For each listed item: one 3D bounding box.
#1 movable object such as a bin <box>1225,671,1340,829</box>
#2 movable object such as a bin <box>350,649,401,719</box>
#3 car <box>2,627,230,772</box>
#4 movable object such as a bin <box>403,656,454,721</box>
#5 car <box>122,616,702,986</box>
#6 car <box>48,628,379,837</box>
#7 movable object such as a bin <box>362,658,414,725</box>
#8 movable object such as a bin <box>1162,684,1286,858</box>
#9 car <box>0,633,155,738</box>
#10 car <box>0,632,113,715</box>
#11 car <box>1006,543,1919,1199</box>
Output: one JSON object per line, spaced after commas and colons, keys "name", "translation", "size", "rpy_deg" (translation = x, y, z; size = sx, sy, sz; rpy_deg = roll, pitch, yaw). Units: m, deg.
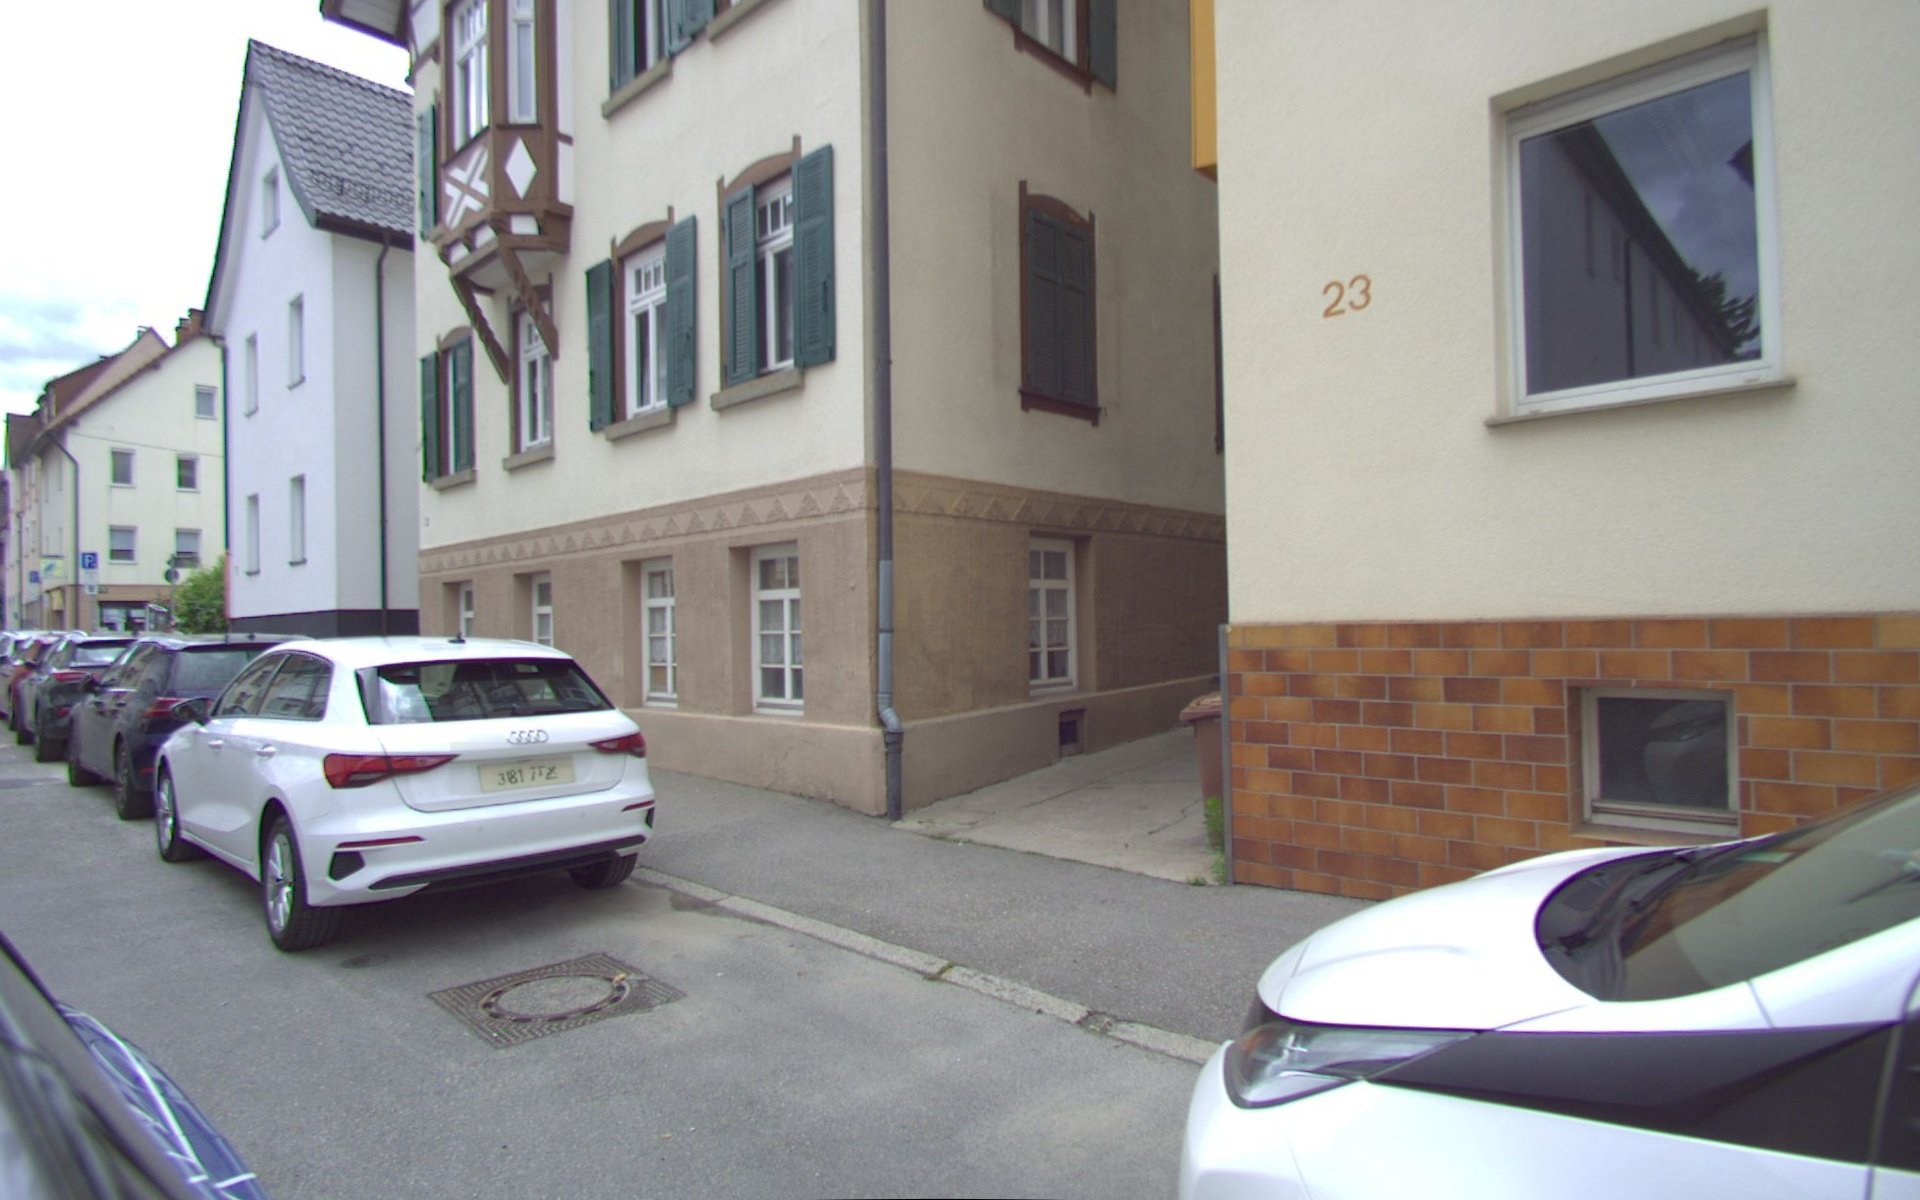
{"name": "movable object such as a bin", "translation": [2.104, 0.948, 6.594], "size": [0.546, 0.931, 0.499], "rpy_deg": [-2, 0, 38]}
{"name": "movable object such as a bin", "translation": [-9.008, 1.287, 15.597], "size": [0.604, 1.023, 0.508], "rpy_deg": [-2, -1, 43]}
{"name": "car", "translation": [-10.824, 1.141, 12.874], "size": [4.085, 1.521, 1.732], "rpy_deg": [-1, -3, 44]}
{"name": "movable object such as a bin", "translation": [-8.152, 1.340, 15.514], "size": [0.604, 0.939, 0.508], "rpy_deg": [-2, -1, 43]}
{"name": "car", "translation": [-3.547, 0.851, 6.121], "size": [4.370, 1.443, 1.732], "rpy_deg": [-1, -3, 43]}
{"name": "car", "translation": [-7.133, 1.041, 9.478], "size": [4.371, 1.467, 1.732], "rpy_deg": [-1, -3, 44]}
{"name": "movable object such as a bin", "translation": [-8.567, 1.361, 15.144], "size": [0.604, 0.939, 0.508], "rpy_deg": [-2, -1, 43]}
{"name": "movable object such as a bin", "translation": [1.598, 1.003, 6.118], "size": [0.546, 0.931, 0.499], "rpy_deg": [-2, 0, 38]}
{"name": "car", "translation": [-14.610, 1.304, 16.464], "size": [4.067, 1.460, 1.732], "rpy_deg": [-1, -3, 43]}
{"name": "car", "translation": [-18.343, 1.375, 19.956], "size": [4.346, 1.442, 1.734], "rpy_deg": [-1, -3, 40]}
{"name": "car", "translation": [2.026, 0.676, 1.022], "size": [3.816, 1.445, 1.648], "rpy_deg": [-1, -2, 43]}
